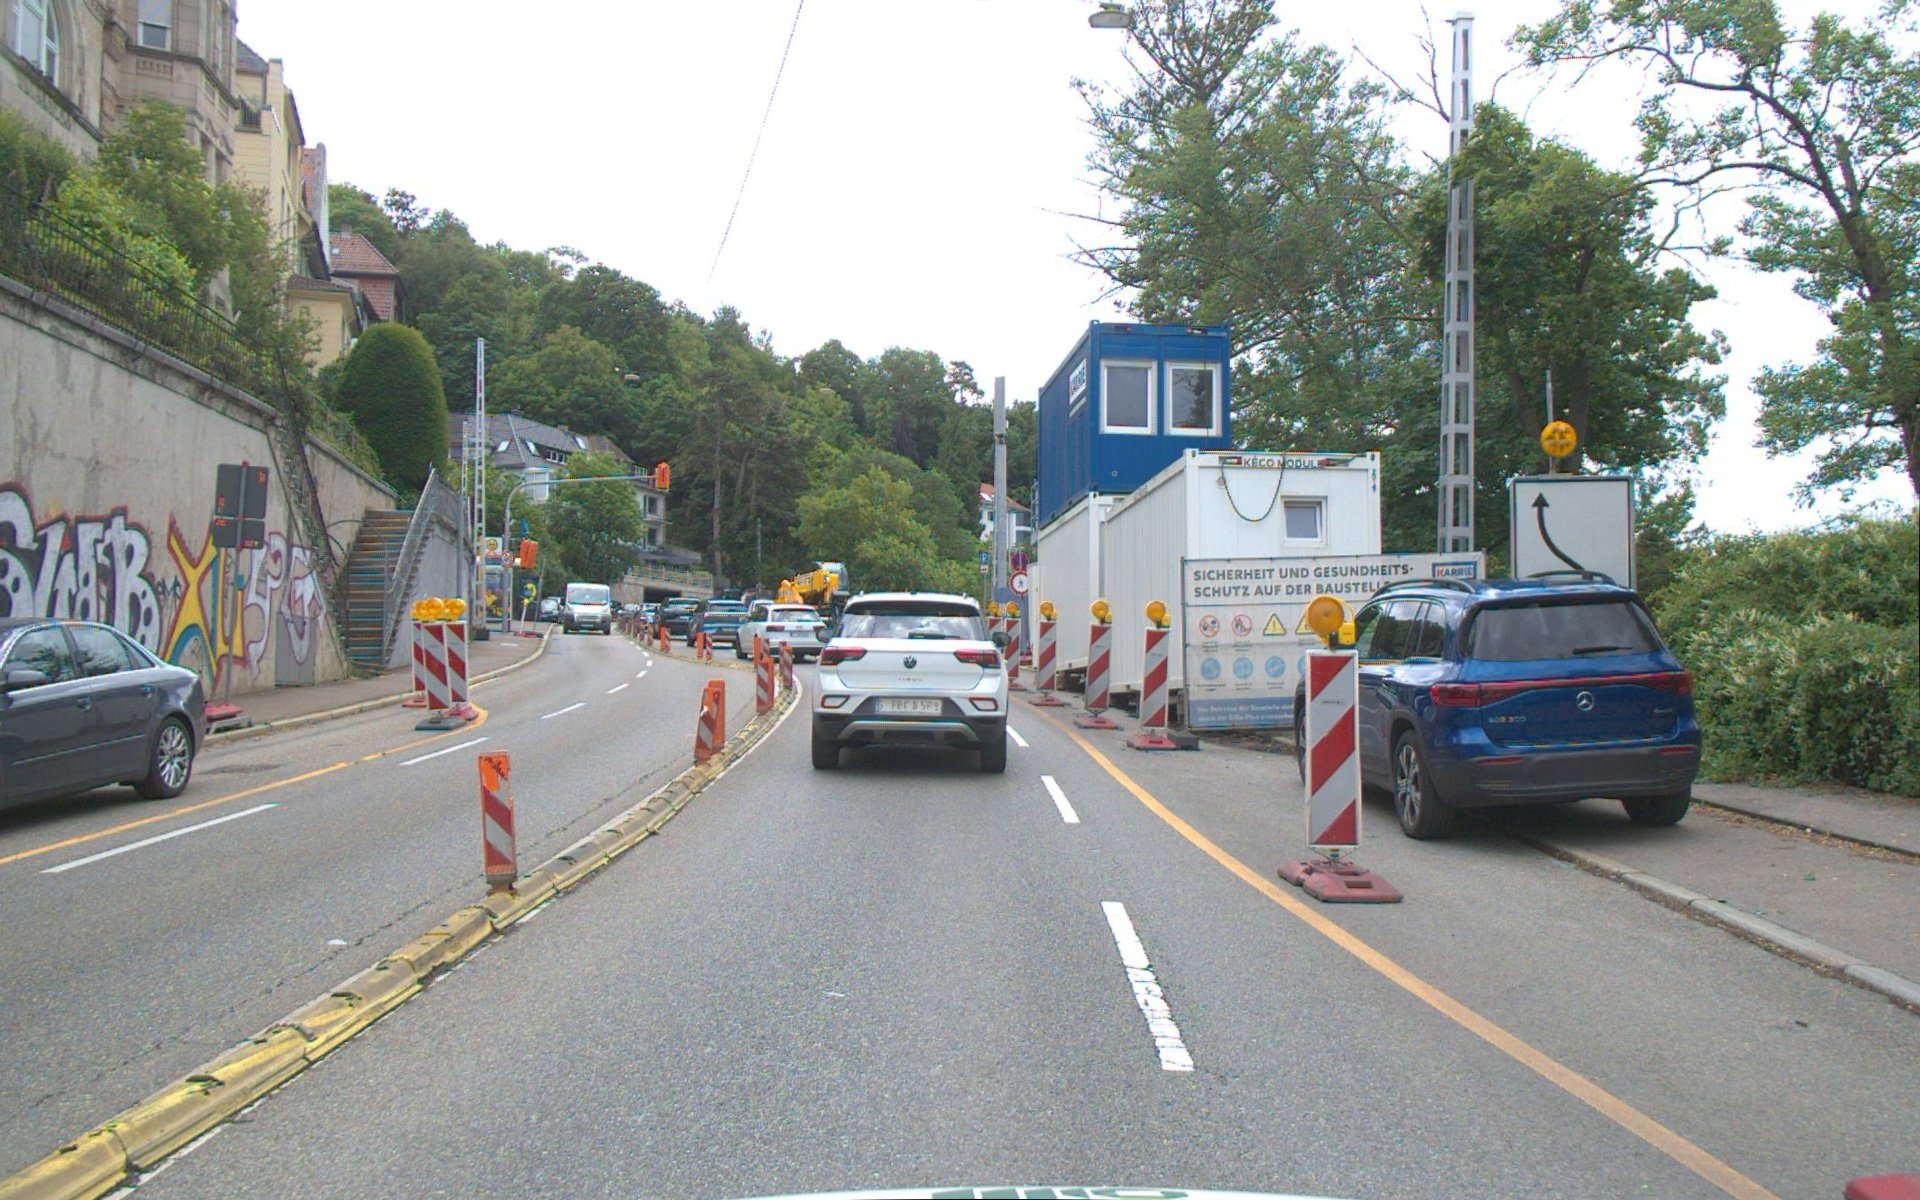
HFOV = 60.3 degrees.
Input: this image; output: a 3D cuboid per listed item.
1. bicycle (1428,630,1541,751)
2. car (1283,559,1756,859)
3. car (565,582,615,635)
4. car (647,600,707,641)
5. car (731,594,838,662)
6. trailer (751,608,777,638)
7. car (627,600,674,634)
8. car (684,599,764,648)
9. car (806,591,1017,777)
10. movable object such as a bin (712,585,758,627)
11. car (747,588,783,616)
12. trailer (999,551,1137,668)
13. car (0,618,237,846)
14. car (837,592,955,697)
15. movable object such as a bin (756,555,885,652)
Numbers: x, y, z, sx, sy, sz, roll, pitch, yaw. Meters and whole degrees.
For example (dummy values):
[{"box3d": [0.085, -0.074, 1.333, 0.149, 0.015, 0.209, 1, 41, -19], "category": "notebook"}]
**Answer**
[{"box3d": [5.360, 0.896, 16.992, 0.488, 1.127, 1.799, -2, 0, -2], "category": "bicycle"}, {"box3d": [3.812, 0.662, 12.213, 1.802, 1.671, 4.501, -4, 0, -1], "category": "car"}, {"box3d": [-16.442, 0.347, 73.676, 2.031, 2.226, 4.947, -1, 0, -12], "category": "car"}, {"box3d": [-11.224, 0.785, 65.520, 1.766, 1.536, 3.980, -2, 0, -18], "category": "car"}, {"box3d": [-4.616, 0.696, 42.930, 1.784, 1.692, 3.974, 0, 0, -22], "category": "car"}, {"box3d": [-10.302, 1.181, 86.767, 1.264, 1.501, 3.627, 2, 0, -8], "category": "trailer"}, {"box3d": [-15.143, 0.818, 80.815, 1.766, 1.536, 3.980, -2, 0, -18], "category": "car"}, {"box3d": [-7.729, 0.739, 53.899, 1.768, 1.537, 3.975, 0, 0, -21], "category": "car"}, {"box3d": [-0.399, 0.711, 15.896, 1.772, 1.558, 4.000, 0, 0, 0], "category": "car"}, {"box3d": [-15.148, 0.397, 111.586, 2.165, 2.709, 4.946, 2, 0, 3], "category": "movable object such as a bin"}, {"box3d": [-11.169, 0.149, 94.514, 1.762, 1.537, 3.989, 1, -1, -11], "category": "car"}, {"box3d": [2.493, 0.219, 39.708, 2.069, 2.594, 5.105, -1, 0, -11], "category": "trailer"}, {"box3d": [-6.909, 0.877, 11.422, 1.762, 1.397, 4.389, -2, 0, 2], "category": "car"}, {"box3d": [-1.182, 0.718, 28.710, 1.775, 1.692, 3.994, 0, 0, -6], "category": "car"}, {"box3d": [-5.088, 0.118, 58.946, 2.768, 3.124, 7.782, 2, 0, -18], "category": "movable object such as a bin"}]
